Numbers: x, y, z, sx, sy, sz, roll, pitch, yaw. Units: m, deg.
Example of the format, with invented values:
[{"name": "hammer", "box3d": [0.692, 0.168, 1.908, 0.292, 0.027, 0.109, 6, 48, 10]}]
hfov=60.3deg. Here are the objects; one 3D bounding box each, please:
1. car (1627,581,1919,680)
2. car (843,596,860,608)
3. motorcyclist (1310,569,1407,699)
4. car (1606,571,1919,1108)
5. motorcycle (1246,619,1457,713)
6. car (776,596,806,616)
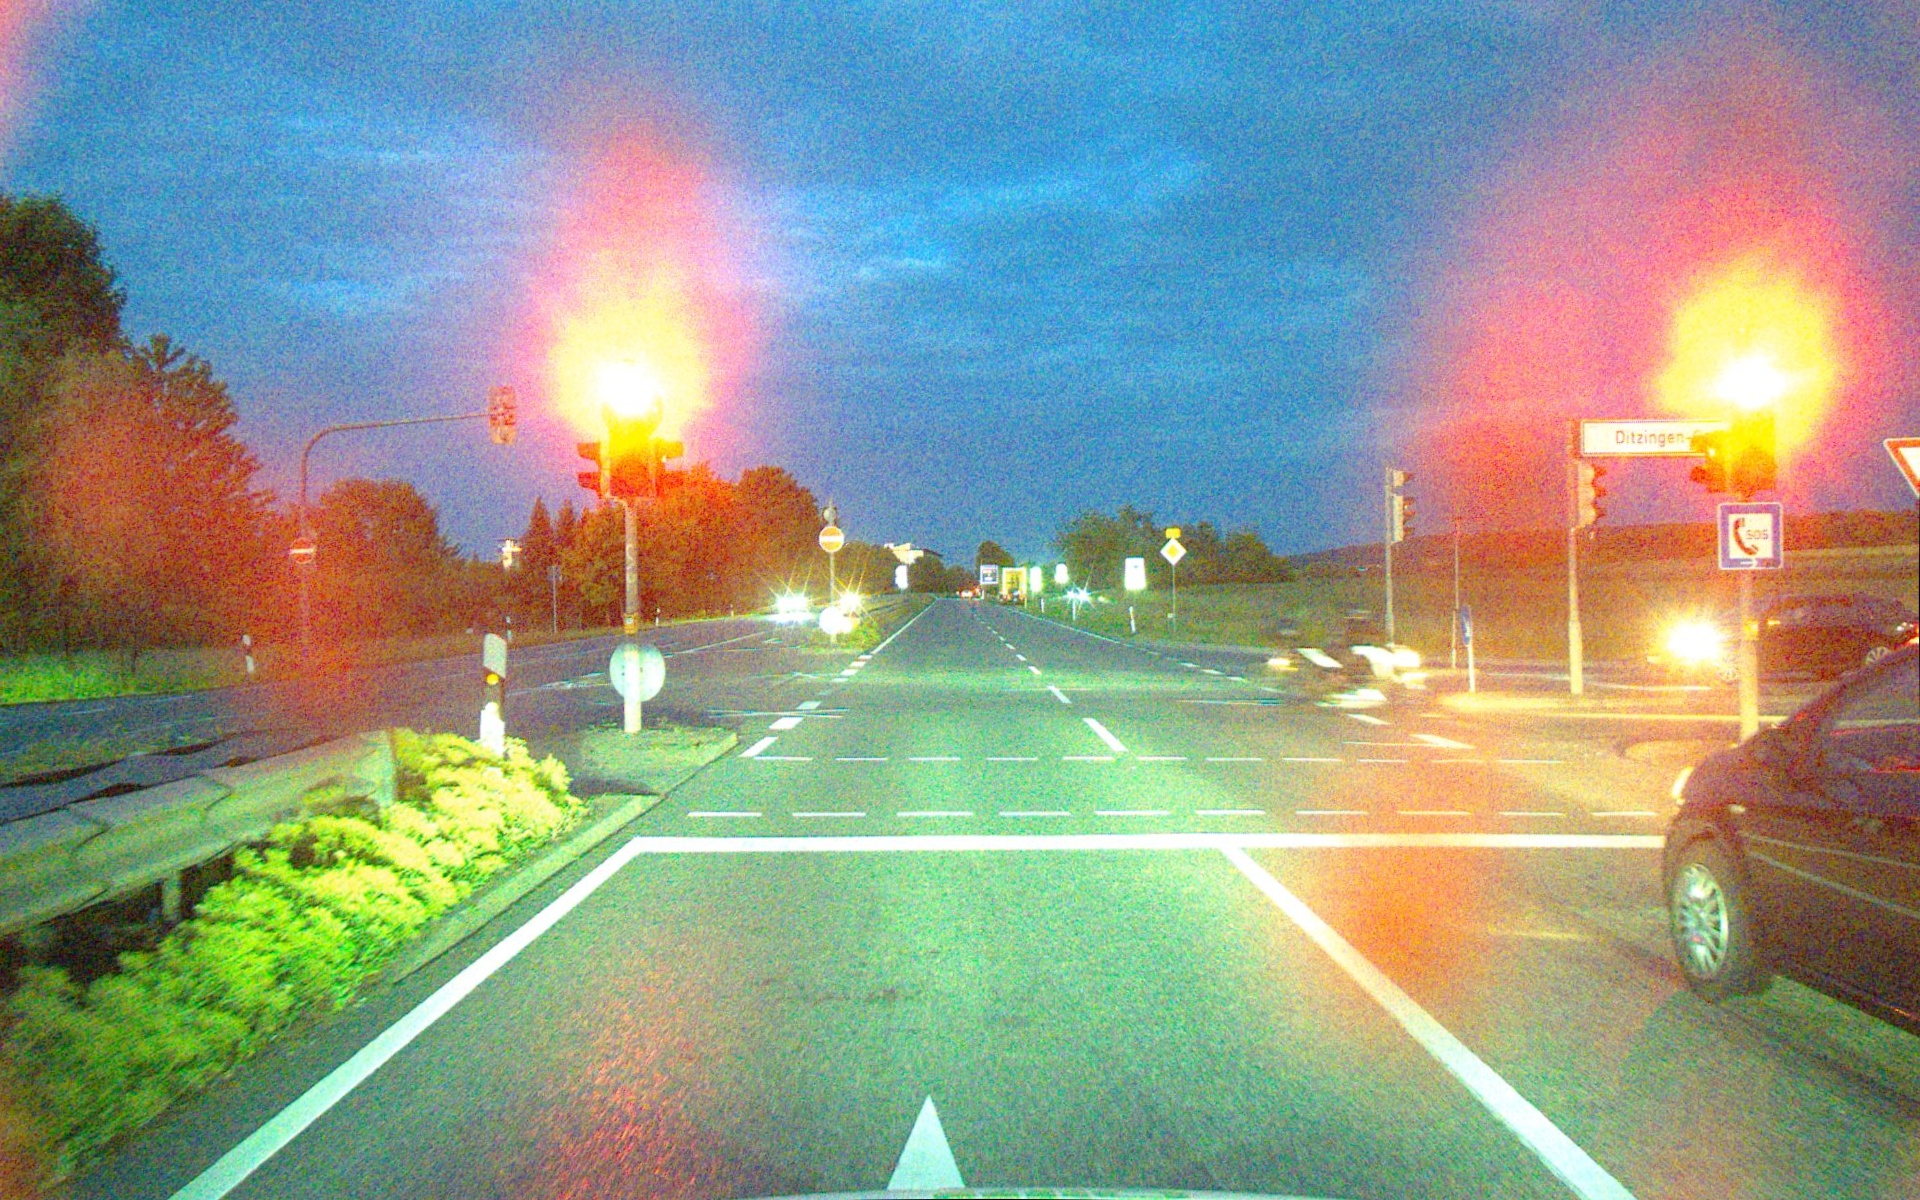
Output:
[{"name": "car", "box3d": [14.244, 0.500, 28.719, 4.507, 1.547, 2.000, -2, 0, 0]}, {"name": "car", "box3d": [-13.897, 0.247, 211.687, 1.953, 1.411, 3.999, -1, 0, -1]}, {"name": "motorcyclist", "box3d": [5.157, 0.423, 21.378, 0.951, 1.612, 1.139, -1, 0, 27]}, {"name": "car", "box3d": [3.595, 0.694, 5.105, 1.636, 1.547, 4.106, 0, 0, 1]}, {"name": "motorcycle", "box3d": [5.015, 0.827, 21.211, 2.452, 1.118, 0.981, -1, 0, 28]}, {"name": "car", "box3d": [-13.614, 0.453, 133.349, 1.953, 1.545, 4.297, -1, 0, -1]}]
